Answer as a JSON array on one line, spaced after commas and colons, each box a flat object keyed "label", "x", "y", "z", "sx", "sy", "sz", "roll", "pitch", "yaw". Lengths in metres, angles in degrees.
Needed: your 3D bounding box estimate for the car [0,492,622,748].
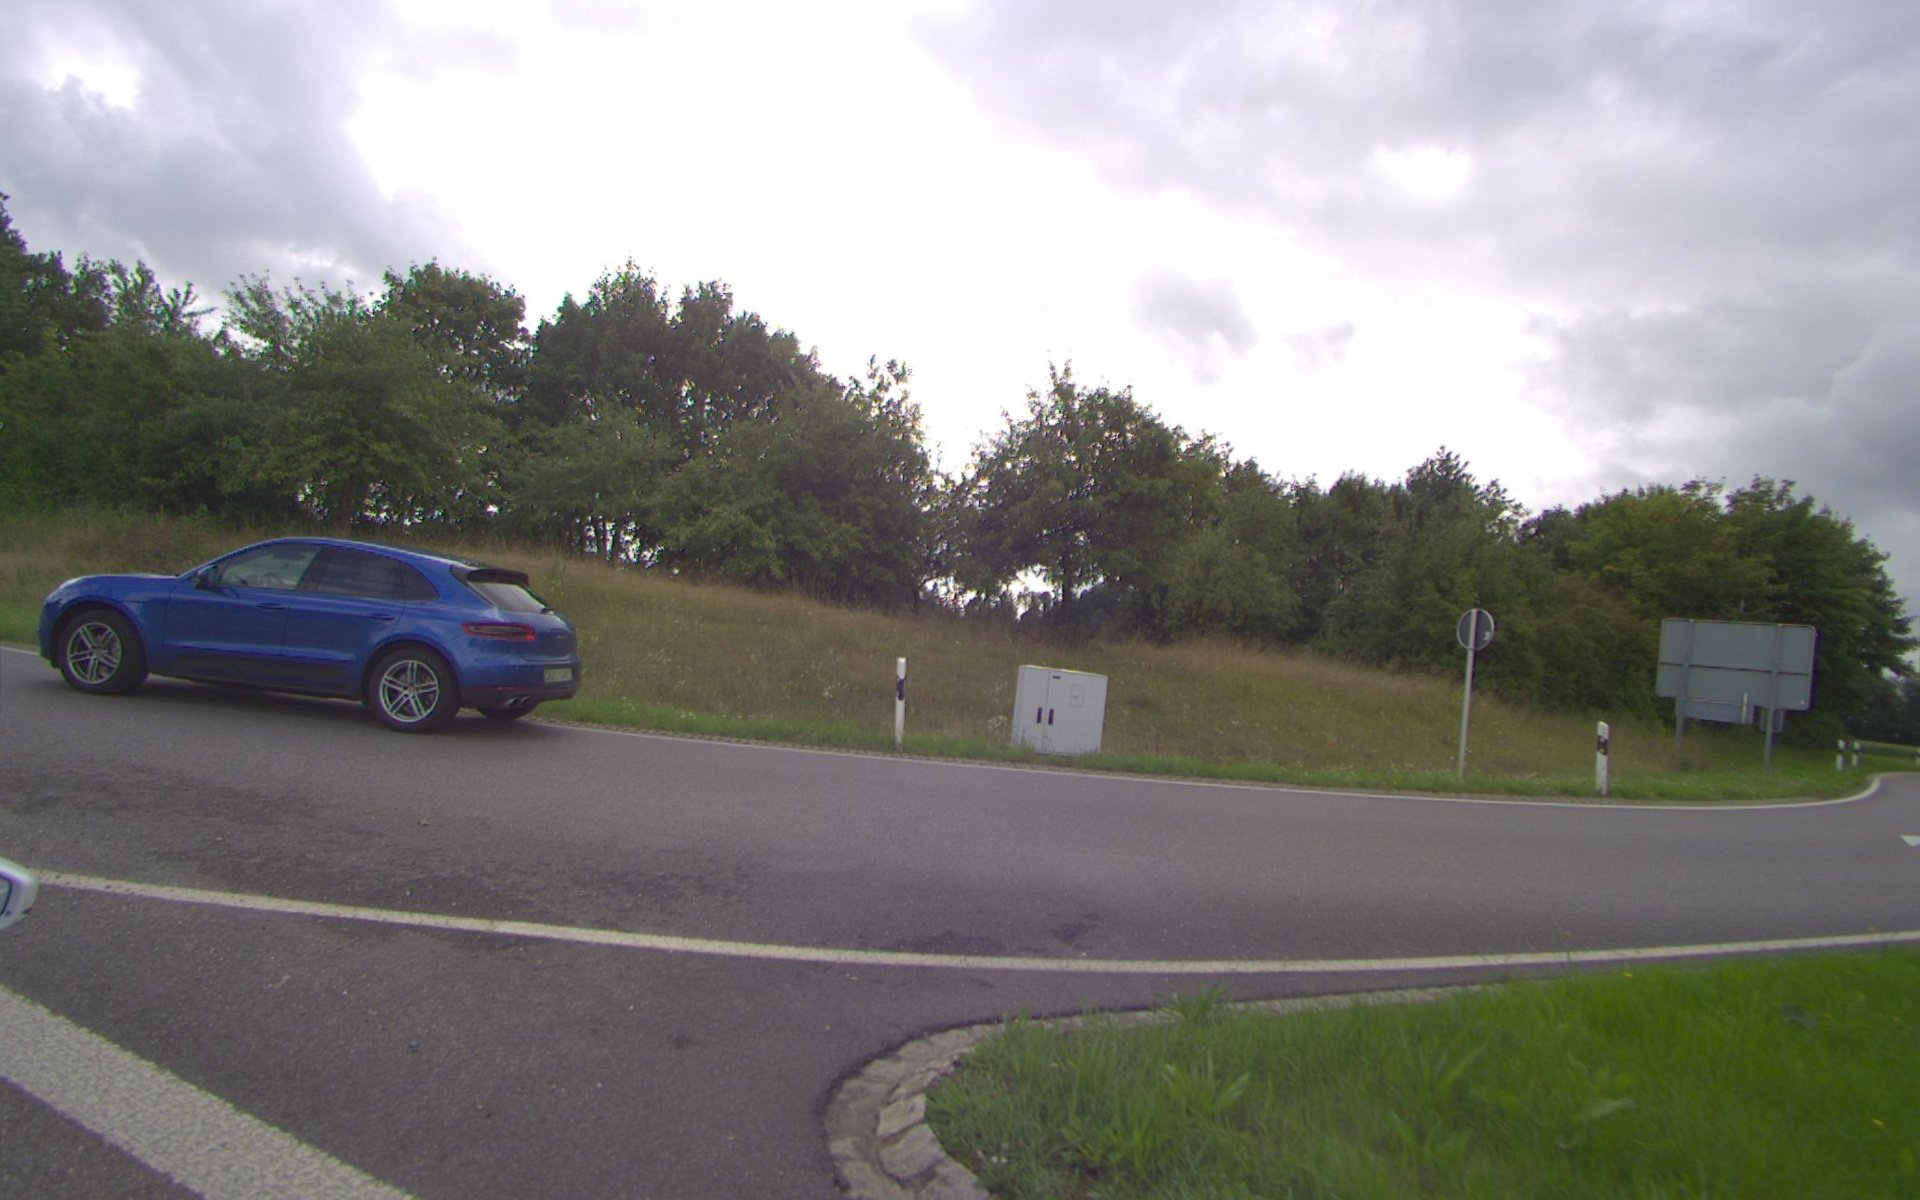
[{"label": "car", "x": -5.952, "y": 0.189, "z": 9.524, "sx": 4.668, "sy": 1.589, "sz": 2.001, "roll": 7, "pitch": -1, "yaw": 1}]
